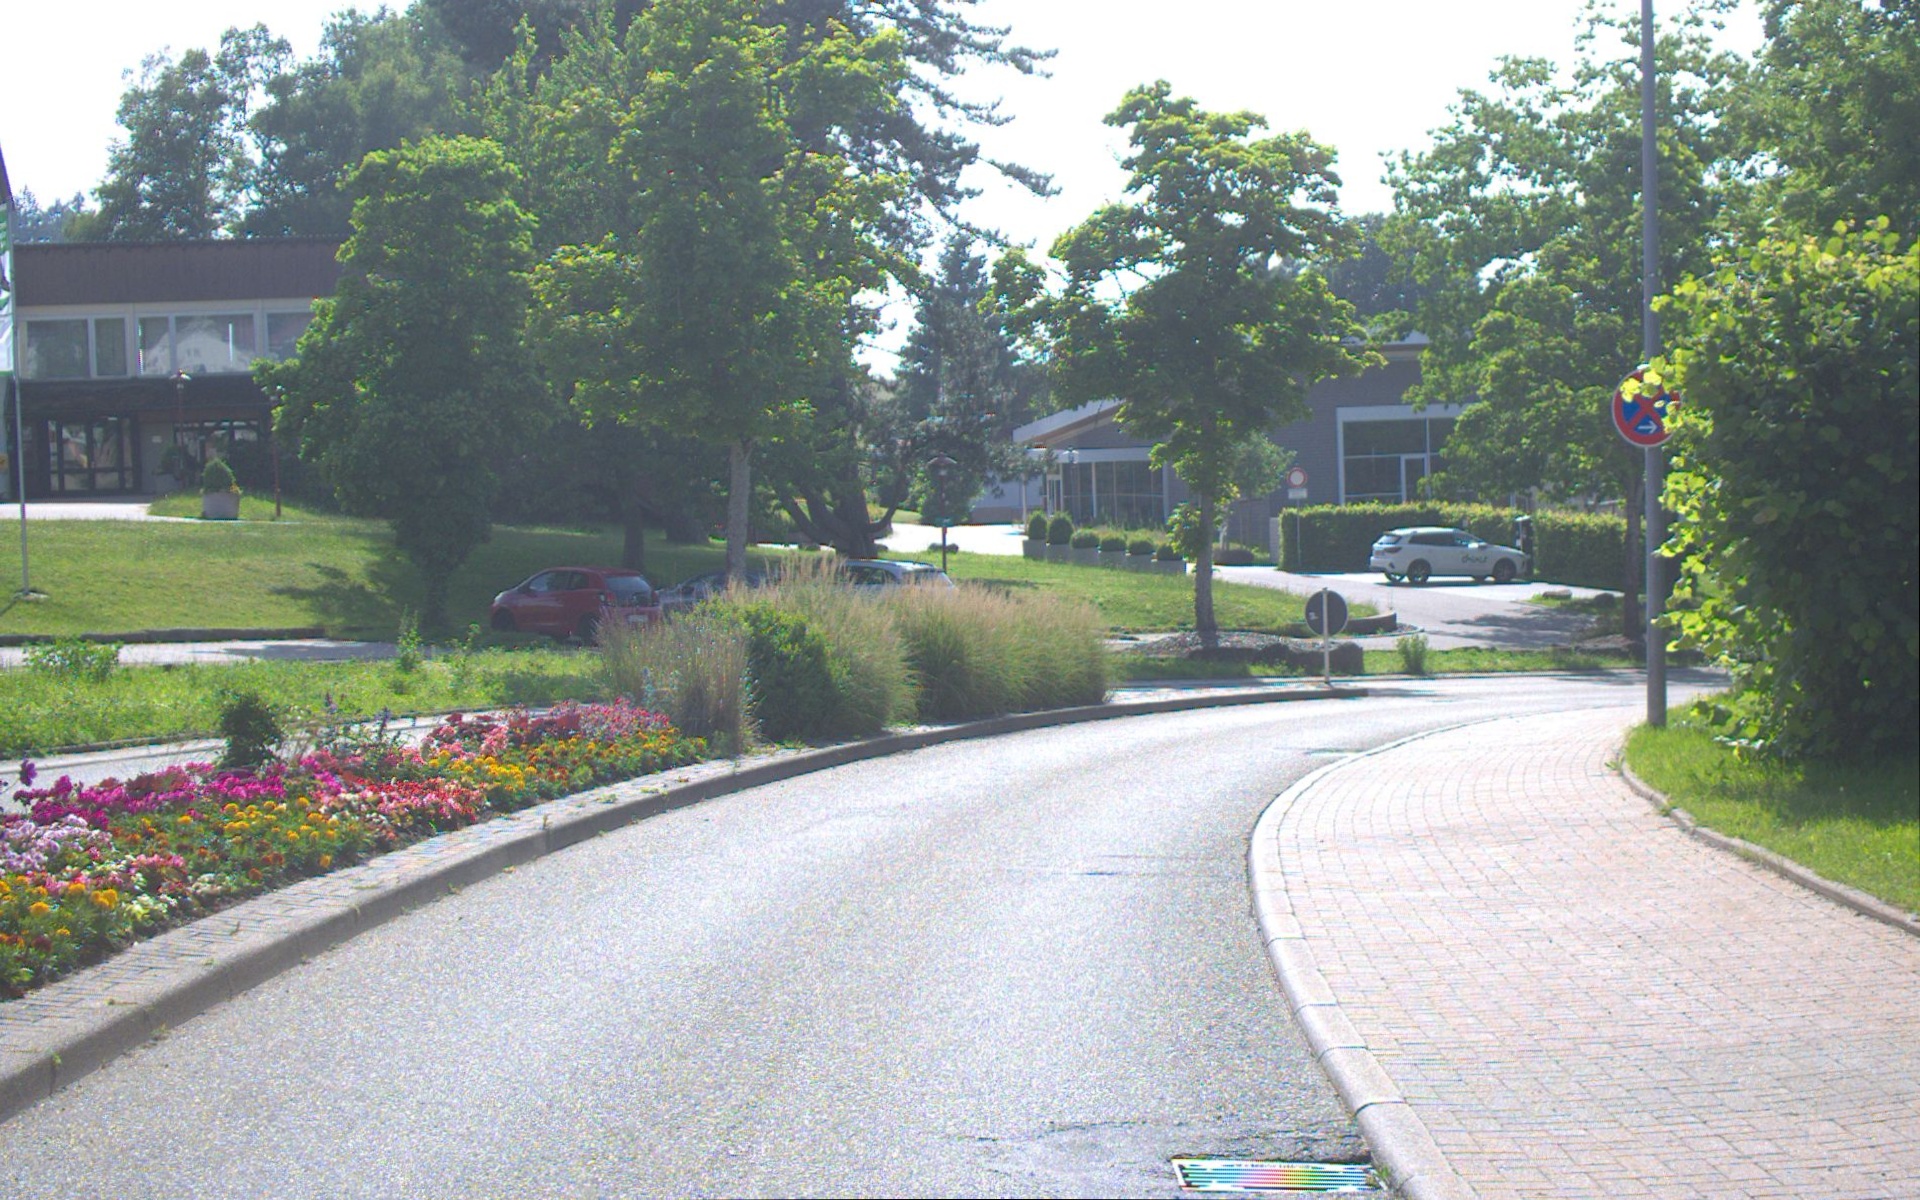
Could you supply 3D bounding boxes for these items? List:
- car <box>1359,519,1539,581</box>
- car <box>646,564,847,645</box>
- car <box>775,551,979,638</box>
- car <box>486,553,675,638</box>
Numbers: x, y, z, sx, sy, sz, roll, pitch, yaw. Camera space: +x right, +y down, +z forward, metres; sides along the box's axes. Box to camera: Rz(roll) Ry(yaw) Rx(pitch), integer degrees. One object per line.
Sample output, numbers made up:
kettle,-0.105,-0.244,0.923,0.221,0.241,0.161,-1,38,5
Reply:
car,14.080,-1.459,99.086,4.713,1.528,2.001,-1,6,-16
car,-4.175,0.080,67.037,3.711,1.428,1.772,3,1,42
car,-1.711,-0.121,70.115,3.938,1.604,1.772,3,1,41
car,-7.160,-0.092,64.824,3.205,1.465,1.772,3,1,40
